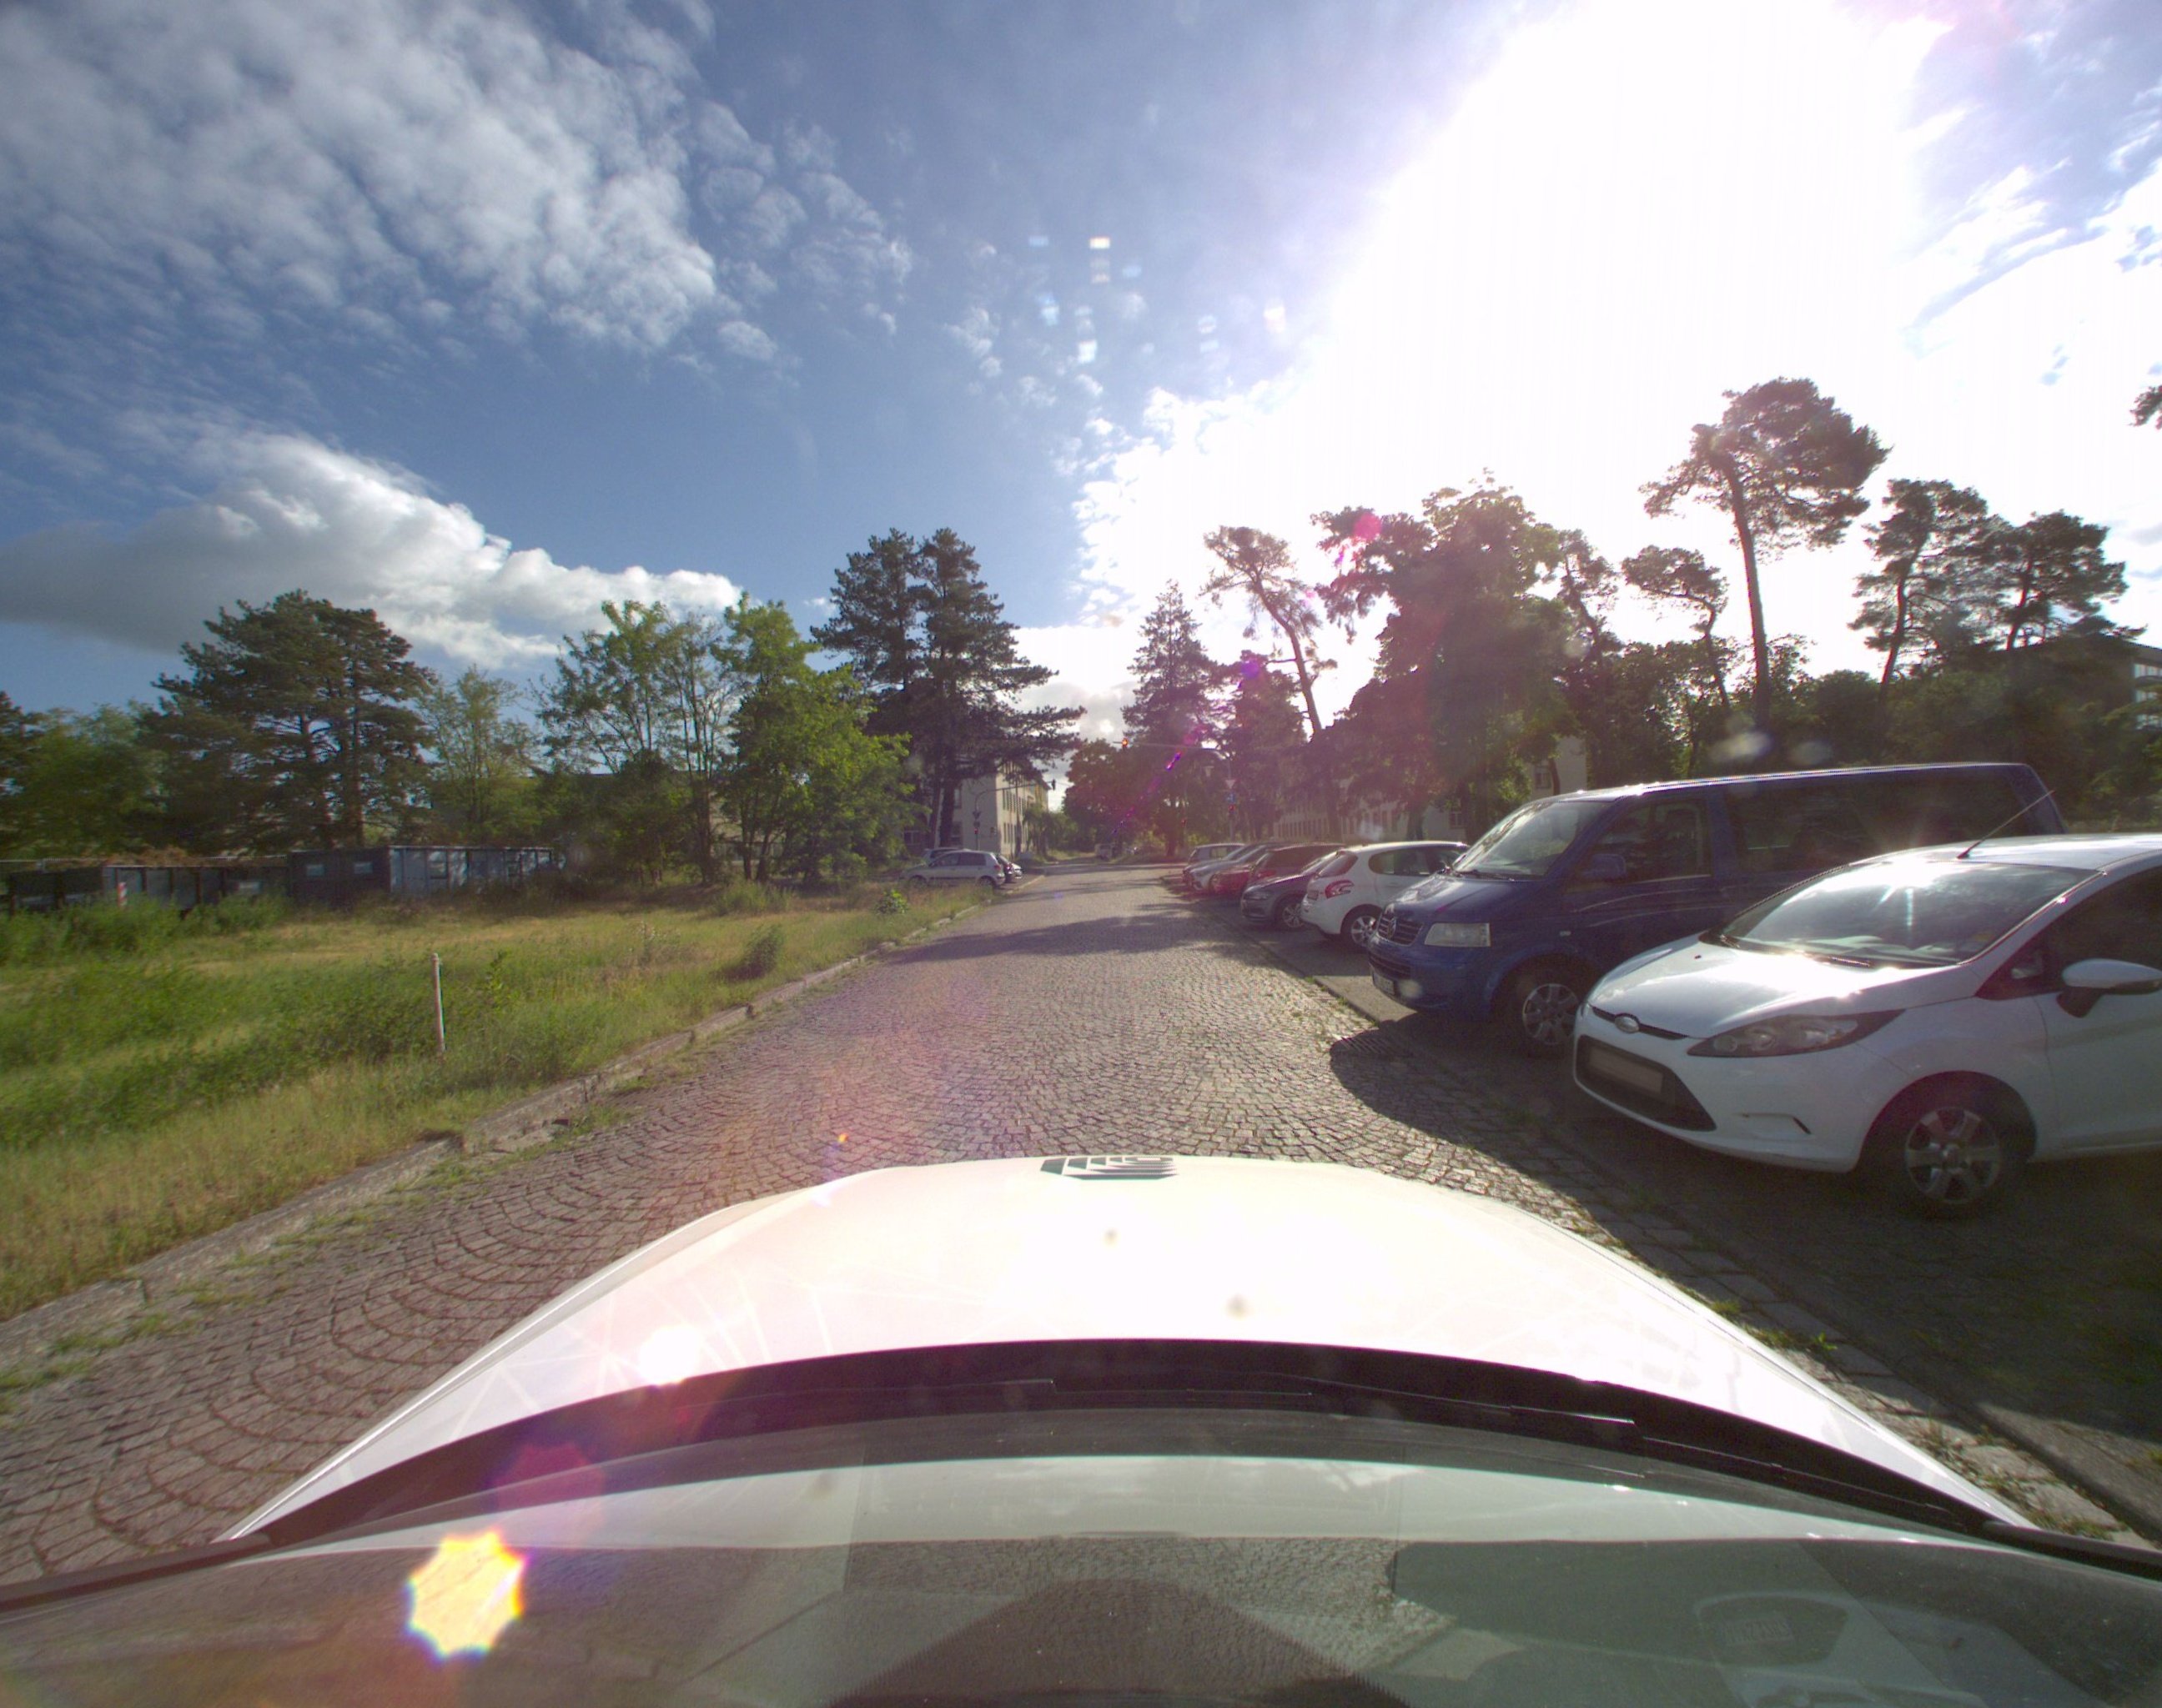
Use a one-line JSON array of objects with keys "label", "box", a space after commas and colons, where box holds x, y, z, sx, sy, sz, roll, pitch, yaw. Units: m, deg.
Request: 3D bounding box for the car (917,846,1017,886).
[{"label": "car", "box": [-4.870, 0.483, 35.247, 3.973, 1.601, 2.001, 1, 0, 1]}]

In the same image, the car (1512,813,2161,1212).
[{"label": "car", "box": [4.483, 0.596, 4.118, 3.708, 1.488, 1.645, -3, 0, -1]}]

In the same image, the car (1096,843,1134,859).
[{"label": "car", "box": [4.035, -0.385, 96.953, 4.465, 1.728, 2.000, -1, 0, 1]}]

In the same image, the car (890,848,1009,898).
[{"label": "car", "box": [-4.749, 0.668, 29.852, 3.976, 1.600, 1.999, -2, 0, -1]}]

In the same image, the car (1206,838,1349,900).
[{"label": "car", "box": [5.429, 0.398, 22.822, 3.591, 1.529, 1.645, -2, 0, 0]}]

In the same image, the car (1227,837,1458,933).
[{"label": "car", "box": [4.659, 0.524, 14.865, 3.663, 1.467, 1.645, -3, 0, 0]}]

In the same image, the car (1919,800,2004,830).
[{"label": "car", "box": [63.931, -2.822, 59.198, 3.972, 2.013, 2.001, -2, 0, 1]}]

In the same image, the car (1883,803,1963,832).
[{"label": "car", "box": [64.034, -2.776, 61.954, 3.972, 2.013, 2.001, -2, 0, 1]}]

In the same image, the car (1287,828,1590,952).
[{"label": "car", "box": [5.084, 0.486, 11.967, 3.680, 1.465, 1.646, -4, 0, 2]}]

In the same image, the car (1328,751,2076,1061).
[{"label": "car", "box": [4.724, 0.342, 6.773, 4.664, 2.013, 2.082, -2, 0, -2]}]

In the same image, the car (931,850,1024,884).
[{"label": "car", "box": [-4.723, 0.560, 37.647, 3.973, 1.453, 2.001, 1, 1, 1]}]

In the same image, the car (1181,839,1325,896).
[{"label": "car", "box": [5.208, 0.387, 25.010, 4.024, 1.529, 1.644, -2, 0, -2]}]

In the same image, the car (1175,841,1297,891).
[{"label": "car", "box": [5.242, 0.386, 27.783, 3.823, 1.529, 1.645, -2, 0, 0]}]

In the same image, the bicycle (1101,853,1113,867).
[{"label": "bicycle", "box": [2.423, 0.564, 76.044, 0.803, 1.169, 2.177, -4, 1, -4]}]

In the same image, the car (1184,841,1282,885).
[{"label": "car", "box": [5.623, 0.328, 30.417, 3.332, 1.482, 1.645, -2, 0, 0]}]

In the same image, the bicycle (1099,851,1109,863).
[{"label": "bicycle", "box": [2.242, 0.295, 79.491, 0.803, 1.099, 2.177, -1, 0, -4]}]

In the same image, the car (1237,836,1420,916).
[{"label": "car", "box": [5.312, 0.447, 17.772, 3.466, 1.529, 1.645, -2, 0, 0]}]

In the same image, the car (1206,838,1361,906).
[{"label": "car", "box": [5.014, 0.432, 20.472, 3.466, 1.529, 1.645, -2, 0, 0]}]

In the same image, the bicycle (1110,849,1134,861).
[{"label": "bicycle", "box": [4.013, 0.118, 79.473, 2.172, 1.100, 0.805, -1, 0, -8]}]

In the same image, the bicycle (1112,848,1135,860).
[{"label": "bicycle", "box": [4.215, 0.025, 80.589, 2.172, 1.100, 0.805, -1, 0, -8]}]
